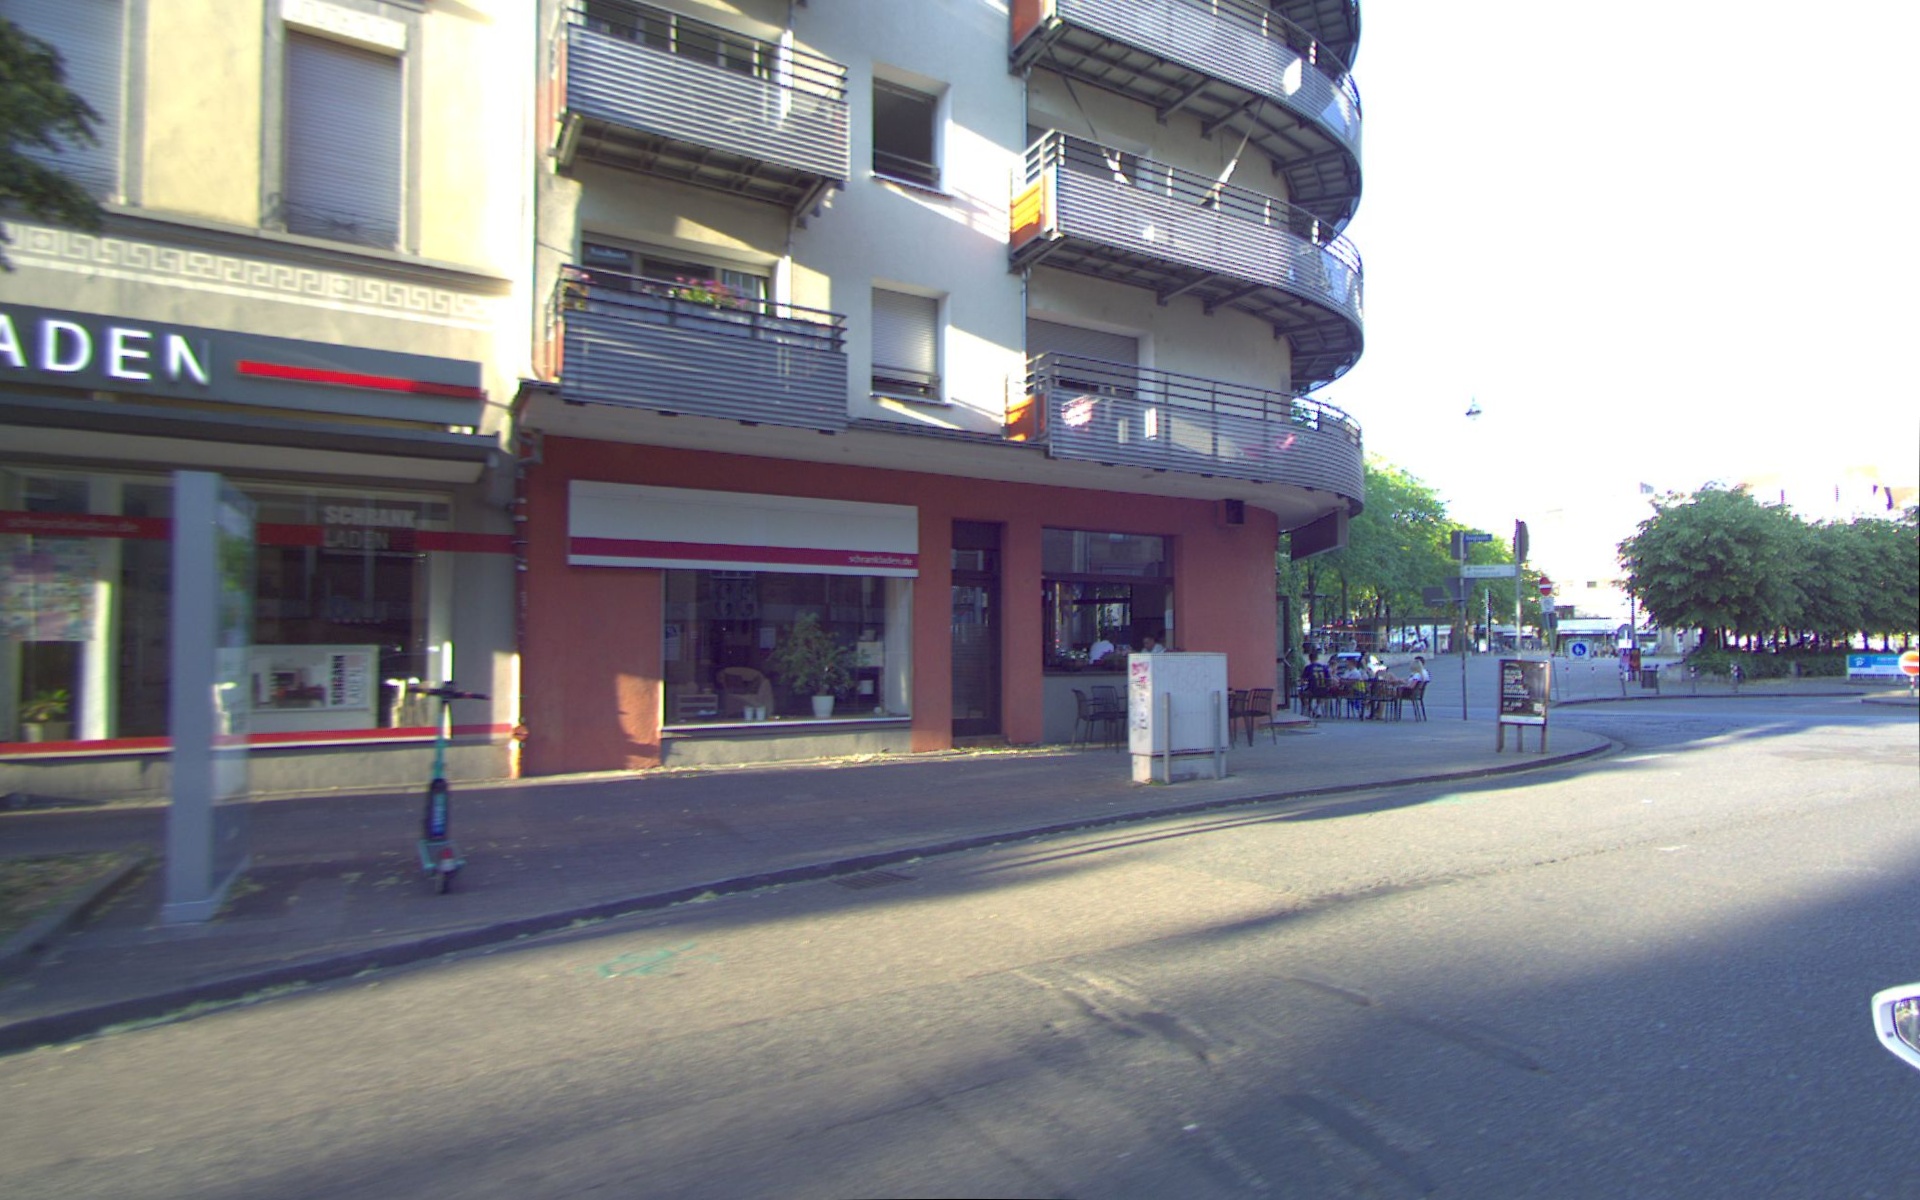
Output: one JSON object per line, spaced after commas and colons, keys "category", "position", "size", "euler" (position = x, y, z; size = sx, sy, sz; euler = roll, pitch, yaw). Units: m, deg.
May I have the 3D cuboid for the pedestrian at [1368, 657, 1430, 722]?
{"category": "pedestrian", "position": [8.829, 1.789, 20.201], "size": [0.761, 1.258, 0.891], "euler": [4, -4, -38]}

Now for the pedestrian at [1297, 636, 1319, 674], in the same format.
{"category": "pedestrian", "position": [15.034, 2.369, 43.411], "size": [0.679, 1.607, 0.767], "euler": [-2, -4, 37]}

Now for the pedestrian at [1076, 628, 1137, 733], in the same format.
{"category": "pedestrian", "position": [2.319, 1.270, 15.904], "size": [0.741, 1.615, 0.594], "euler": [3, -4, -28]}

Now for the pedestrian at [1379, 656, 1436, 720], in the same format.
{"category": "pedestrian", "position": [9.246, 1.804, 20.773], "size": [0.742, 1.289, 0.820], "euler": [4, -4, -38]}

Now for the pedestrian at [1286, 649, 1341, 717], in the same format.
{"category": "pedestrian", "position": [7.313, 1.711, 20.793], "size": [0.821, 1.365, 0.741], "euler": [3, -4, -36]}

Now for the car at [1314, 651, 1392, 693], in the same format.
{"category": "car", "position": [14.096, 2.528, 35.894], "size": [1.964, 1.335, 4.521], "euler": [-2, -3, 29]}

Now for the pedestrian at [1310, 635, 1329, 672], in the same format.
{"category": "pedestrian", "position": [15.950, 2.381, 44.611], "size": [0.612, 1.607, 0.699], "euler": [-1, -4, 37]}

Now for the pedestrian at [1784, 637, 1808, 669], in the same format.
{"category": "pedestrian", "position": [43.476, 2.761, 52.238], "size": [0.558, 1.616, 0.791], "euler": [1, -1, -10]}

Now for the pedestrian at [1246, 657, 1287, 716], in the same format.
{"category": "pedestrian", "position": [6.823, 1.917, 22.367], "size": [0.696, 1.263, 0.615], "euler": [4, -4, -39]}

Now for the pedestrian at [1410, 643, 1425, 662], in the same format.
{"category": "pedestrian", "position": [27.271, 3.132, 59.820], "size": [0.704, 1.134, 0.609], "euler": [-2, -3, 36]}

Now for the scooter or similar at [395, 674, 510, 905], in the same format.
{"category": "scooter or similar", "position": [-3.294, 1.136, 6.465], "size": [0.520, 1.242, 1.390], "euler": [1, -2, -32]}

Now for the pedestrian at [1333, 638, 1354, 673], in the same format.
{"category": "pedestrian", "position": [18.324, 2.653, 47.989], "size": [0.778, 1.607, 0.652], "euler": [-1, -4, 36]}

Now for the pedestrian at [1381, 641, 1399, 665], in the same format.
{"category": "pedestrian", "position": [23.377, 2.863, 54.655], "size": [0.778, 1.296, 0.652], "euler": [-1, -4, 36]}

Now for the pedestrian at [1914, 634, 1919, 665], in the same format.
{"category": "pedestrian", "position": [50.839, 2.588, 52.832], "size": [0.665, 1.616, 0.678], "euler": [1, -1, -10]}

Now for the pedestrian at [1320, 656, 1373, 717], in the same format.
{"category": "pedestrian", "position": [8.226, 1.836, 21.397], "size": [0.821, 1.263, 0.717], "euler": [3, -4, -36]}

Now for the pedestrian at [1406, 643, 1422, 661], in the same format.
{"category": "pedestrian", "position": [26.723, 3.044, 59.108], "size": [0.704, 1.072, 0.609], "euler": [-2, -3, 36]}

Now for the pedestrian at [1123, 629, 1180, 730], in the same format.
{"category": "pedestrian", "position": [3.133, 1.294, 16.469], "size": [0.693, 1.615, 0.594], "euler": [3, -4, -28]}

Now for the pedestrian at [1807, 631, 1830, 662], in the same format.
{"category": "pedestrian", "position": [43.803, 2.367, 51.238], "size": [0.558, 1.616, 0.678], "euler": [1, -1, -10]}

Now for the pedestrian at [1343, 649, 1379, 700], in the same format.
{"category": "pedestrian", "position": [12.722, 2.349, 31.886], "size": [0.886, 1.587, 0.765], "euler": [-2, -3, 35]}

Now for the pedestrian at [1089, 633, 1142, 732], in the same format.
{"category": "pedestrian", "position": [2.593, 1.369, 16.799], "size": [0.591, 1.615, 0.669], "euler": [3, -4, -29]}
